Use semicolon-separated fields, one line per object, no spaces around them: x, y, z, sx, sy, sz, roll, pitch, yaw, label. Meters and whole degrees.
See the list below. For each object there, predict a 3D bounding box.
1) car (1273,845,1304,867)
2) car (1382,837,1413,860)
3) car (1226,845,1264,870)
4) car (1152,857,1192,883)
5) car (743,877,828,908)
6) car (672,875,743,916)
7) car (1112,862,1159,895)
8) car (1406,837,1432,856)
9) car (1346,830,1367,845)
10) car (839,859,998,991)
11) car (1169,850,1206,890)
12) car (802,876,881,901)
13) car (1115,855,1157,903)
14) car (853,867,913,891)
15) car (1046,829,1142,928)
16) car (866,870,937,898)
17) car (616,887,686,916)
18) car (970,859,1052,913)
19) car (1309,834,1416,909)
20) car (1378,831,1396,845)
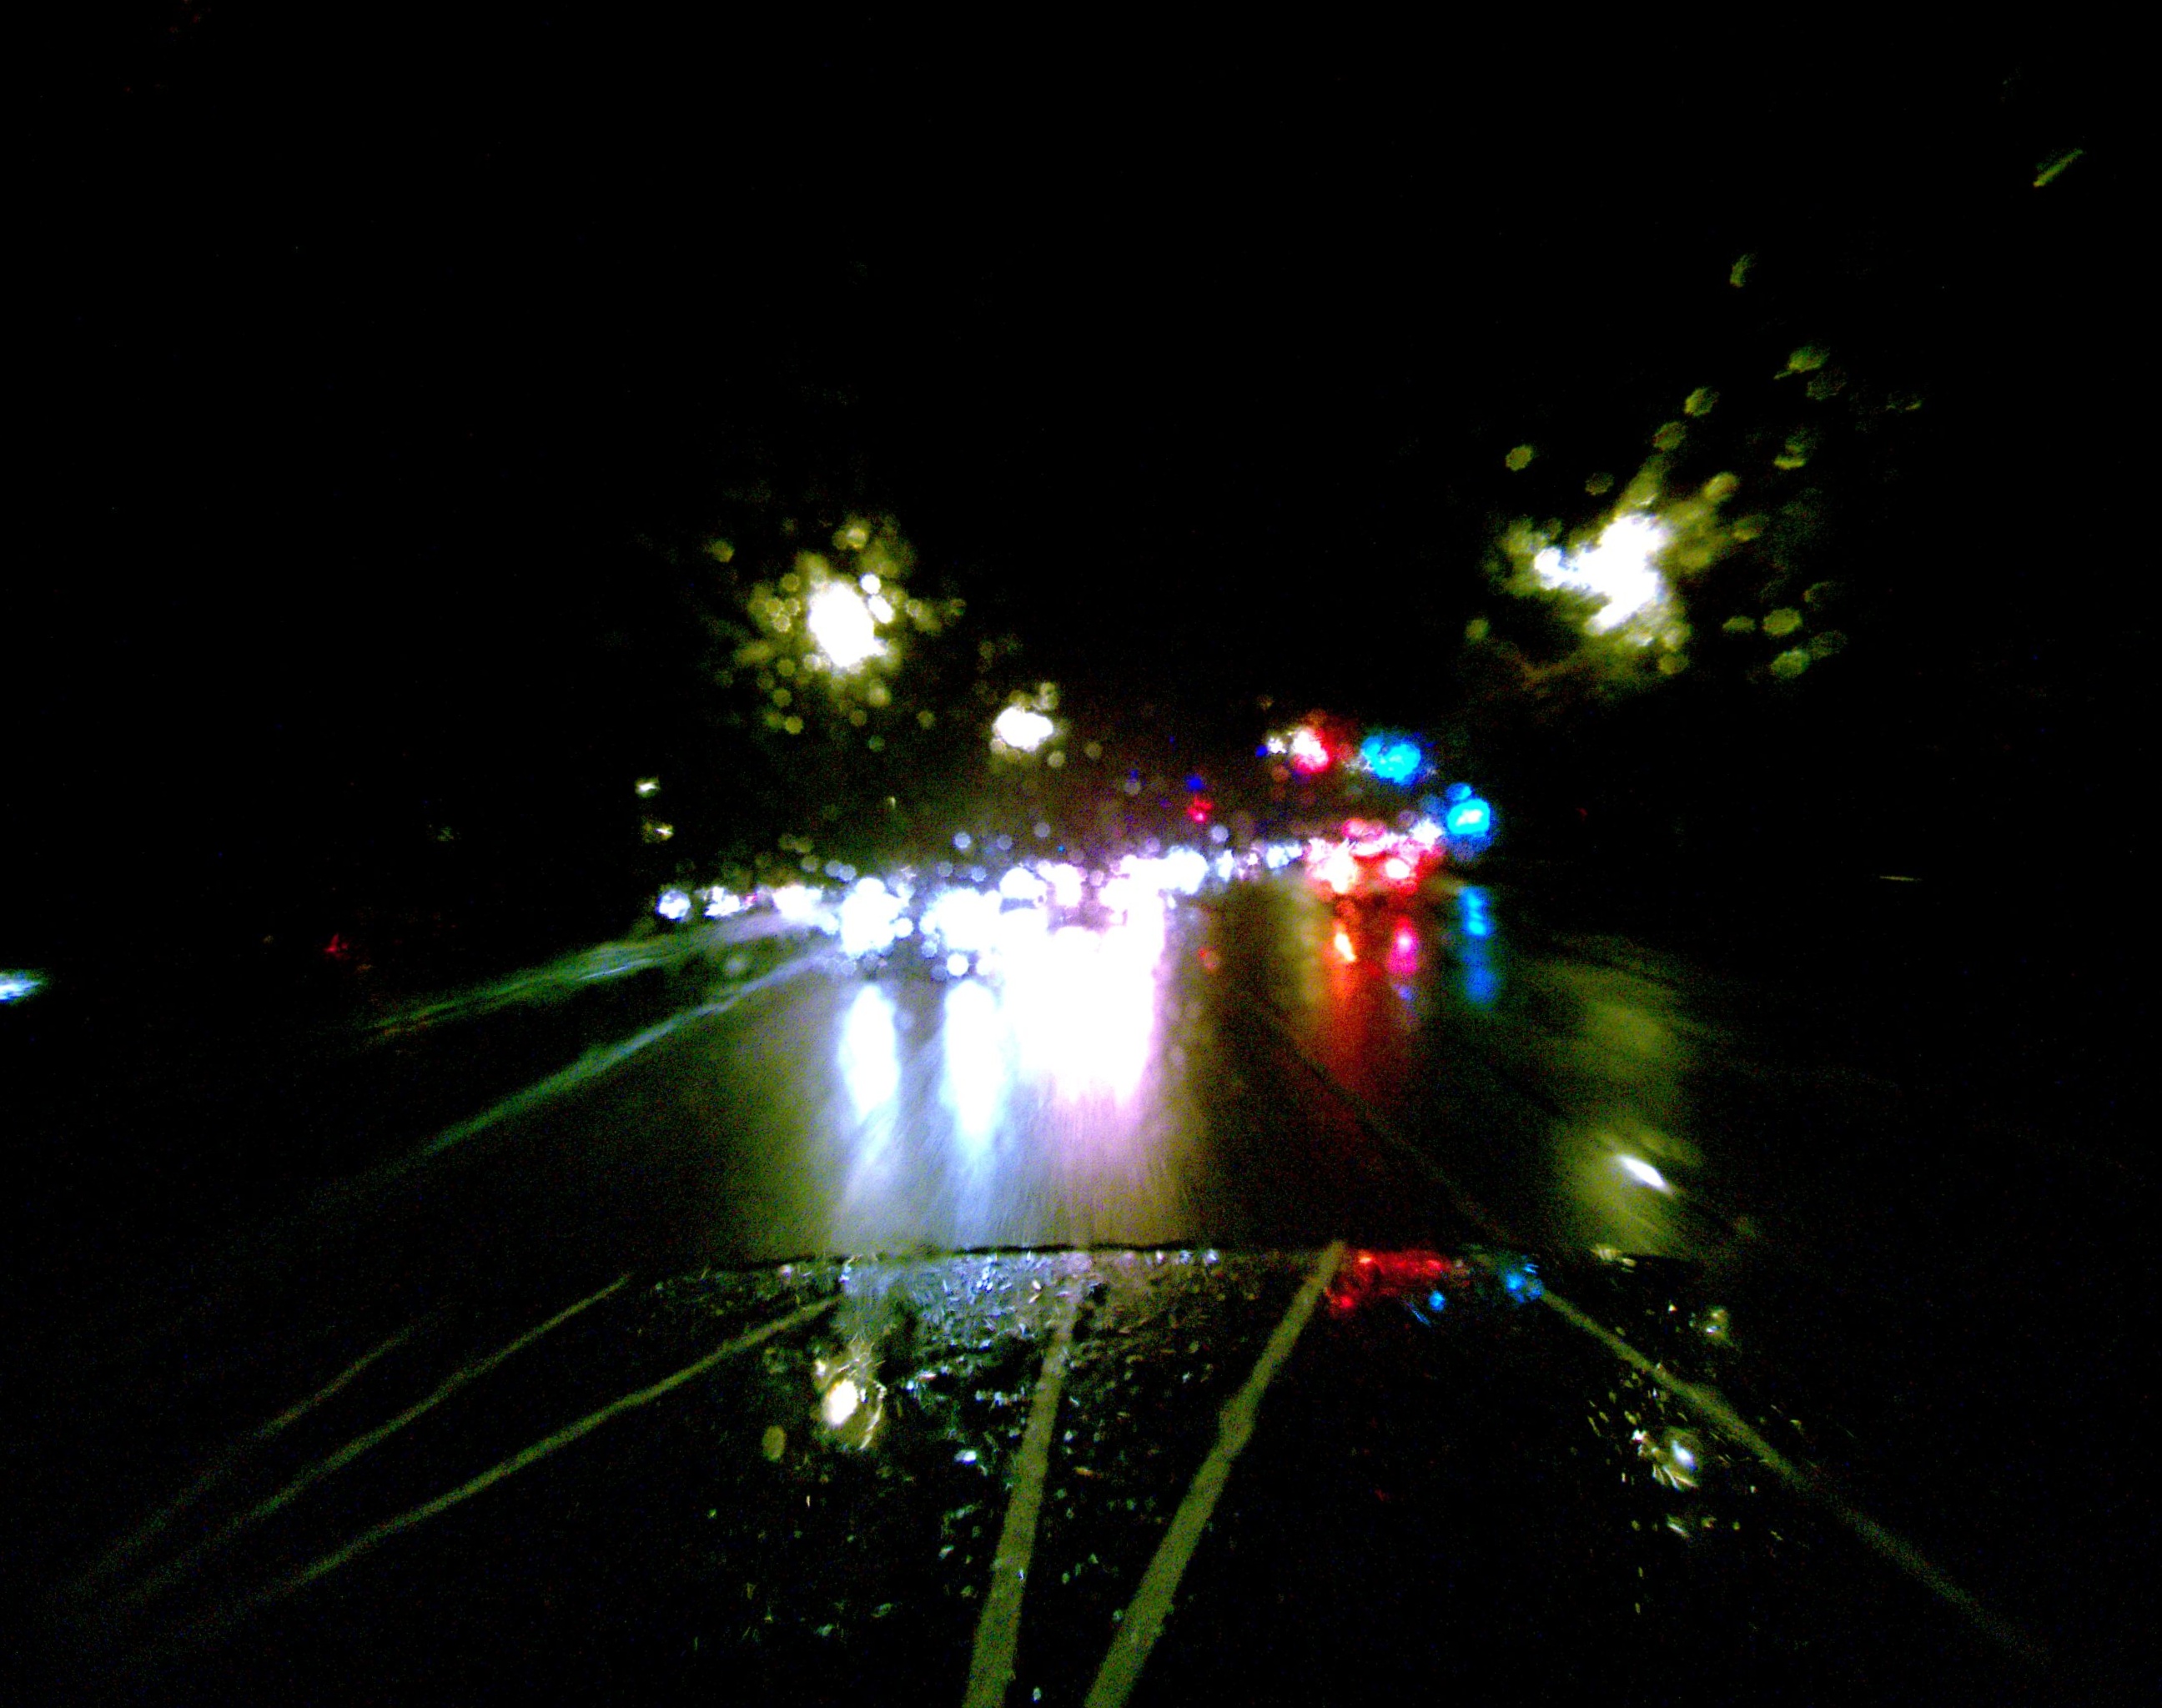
21.111;0.207;77.142;1.866;2.001;4.007;-3;-1;31;car
23.233;-0.395;55.845;1.987;1.595;4.841;-2;0;22;car
14.264;0.315;65.912;1.995;2.001;4.007;-3;-1;29;car
7.556;1.267;62.710;1.832;2.001;4.008;-3;-2;28;car
-17.218;2.234;44.248;4.770;1.630;2.003;-2;0;29;car
-23.292;2.618;47.362;3.991;2.003;1.765;-7;3;30;car
3.804;1.661;52.310;1.866;2.001;4.006;-3;-1;23;car
30.192;-0.690;67.907;1.987;1.595;4.841;-2;0;24;car
39.538;-2.397;109.003;1.865;2.001;4.007;-3;-1;32;car
-2.424;0.964;12.401;1.928;1.704;4.237;-2;0;-4;car
7.160;1.014;50.874;1.997;2.003;4.000;-8;3;12;car
-14.722;2.129;46.681;4.534;1.400;2.003;-2;0;29;car
2.601;1.121;35.339;1.305;1.520;3.045;-27;1;7;car
-16.439;2.081;63.119;4.256;1.688;2.001;-3;0;9;car
0.340;0.491;18.852;1.998;2.003;3.998;-4;3;2;car
-11.768;1.980;49.867;4.108;1.630;2.003;-2;0;27;car
-28.712;3.183;50.718;4.336;1.630;2.003;-4;0;30;car
-2.326;1.040;26.338;2.045;1.610;4.289;-3;-1;5;car
7.286;0.392;20.104;2.002;1.665;4.621;-3;0;13;car
48.010;-2.561;119.108;1.865;2.001;4.007;-3;-1;32;car
